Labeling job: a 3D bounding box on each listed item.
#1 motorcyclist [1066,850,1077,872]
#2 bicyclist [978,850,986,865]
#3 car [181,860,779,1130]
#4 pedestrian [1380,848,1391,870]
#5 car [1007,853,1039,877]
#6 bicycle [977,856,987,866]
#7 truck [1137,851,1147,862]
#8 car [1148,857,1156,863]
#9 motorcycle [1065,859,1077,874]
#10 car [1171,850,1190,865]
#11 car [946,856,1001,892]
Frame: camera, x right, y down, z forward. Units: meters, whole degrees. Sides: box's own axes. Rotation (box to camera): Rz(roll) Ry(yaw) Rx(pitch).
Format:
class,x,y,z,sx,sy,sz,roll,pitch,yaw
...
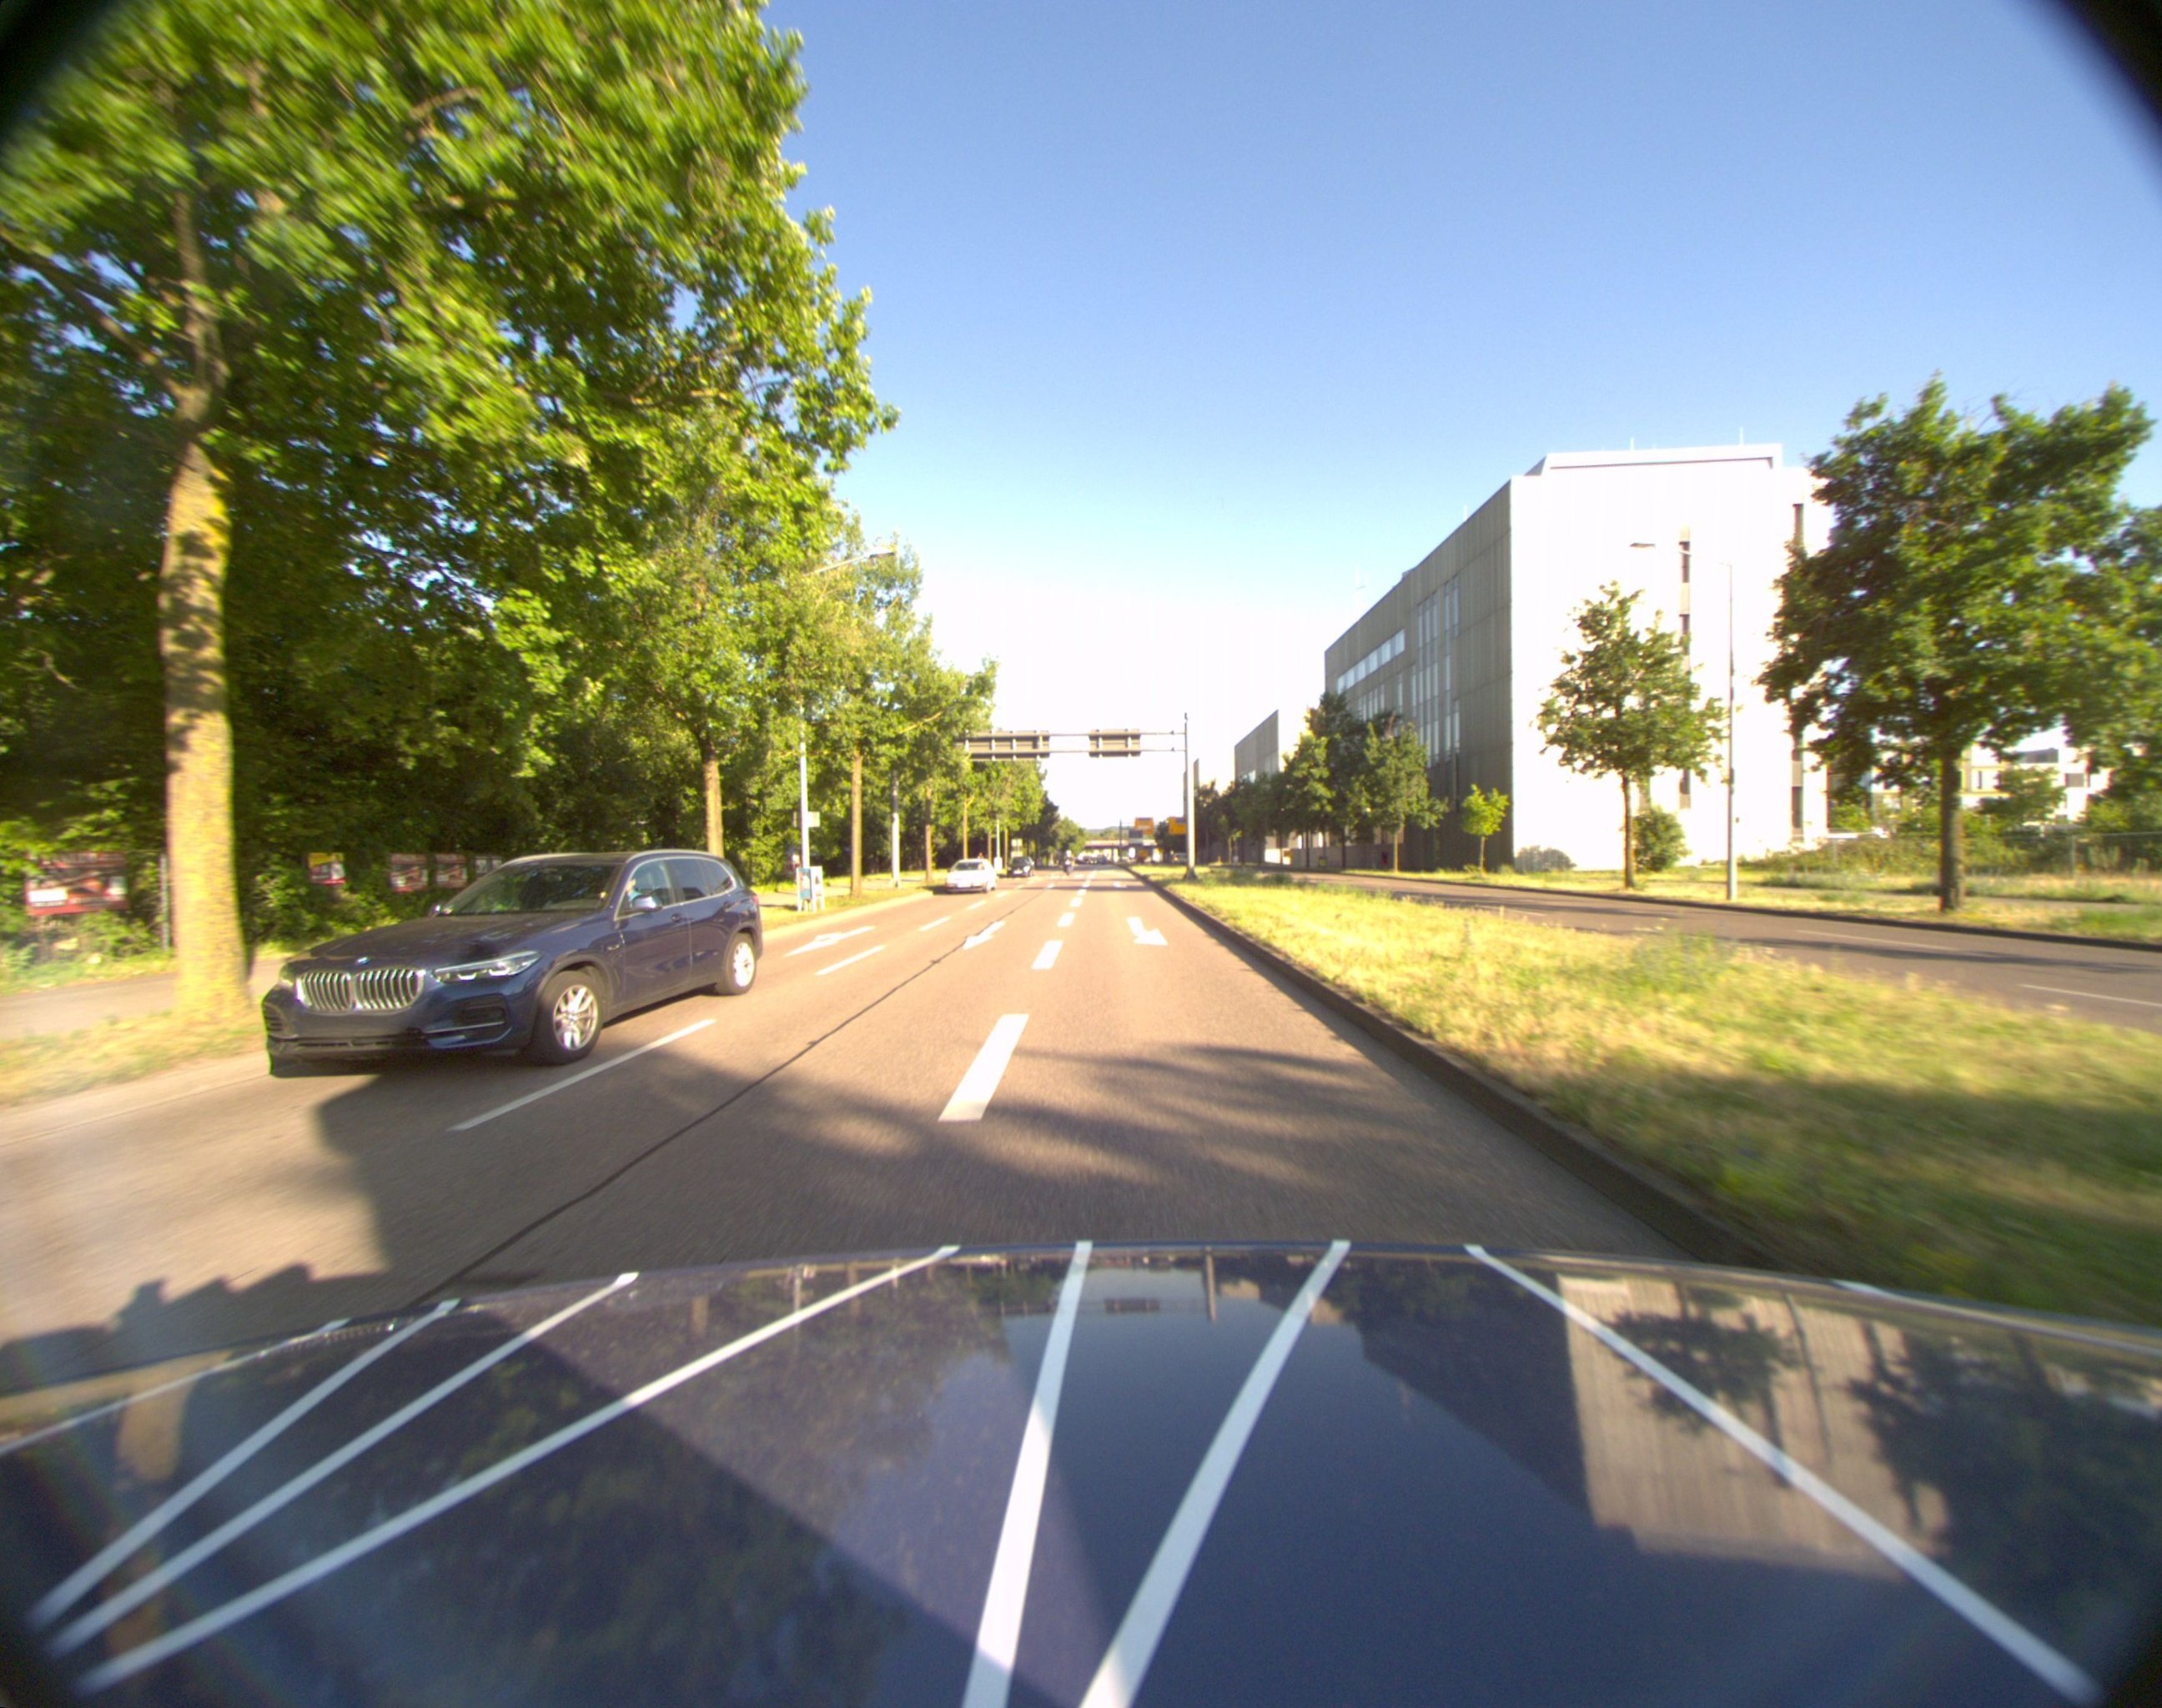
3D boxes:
class,x,y,z,sx,sy,sz,roll,pitch,yaw
motorcyclist,-0.679,0.462,53.129,0.734,1.503,0.919,0,0,1
bicyclist,-10.031,0.390,77.172,0.614,1.493,0.848,-1,0,4
car,-5.028,0.987,7.510,1.959,1.717,4.700,-2,1,3
pedestrian,24.796,0.394,61.888,0.634,1.830,0.717,-1,0,3
car,-3.939,0.714,51.777,1.725,1.490,4.214,-2,0,1
bicycle,-10.040,0.740,76.971,0.618,0.968,1.822,0,0,4
truck,20.020,0.816,248.209,3.005,3.789,10.092,-1,0,4
car,21.331,1.810,227.891,1.600,1.504,3.865,-1,0,-6
motorcycle,-0.686,0.883,52.850,0.749,0.977,2.140,-1,0,1
car,10.824,0.349,82.700,1.566,1.565,3.412,-1,0,-1
car,-4.495,0.827,32.273,1.615,1.390,4.039,-1,-1,1
